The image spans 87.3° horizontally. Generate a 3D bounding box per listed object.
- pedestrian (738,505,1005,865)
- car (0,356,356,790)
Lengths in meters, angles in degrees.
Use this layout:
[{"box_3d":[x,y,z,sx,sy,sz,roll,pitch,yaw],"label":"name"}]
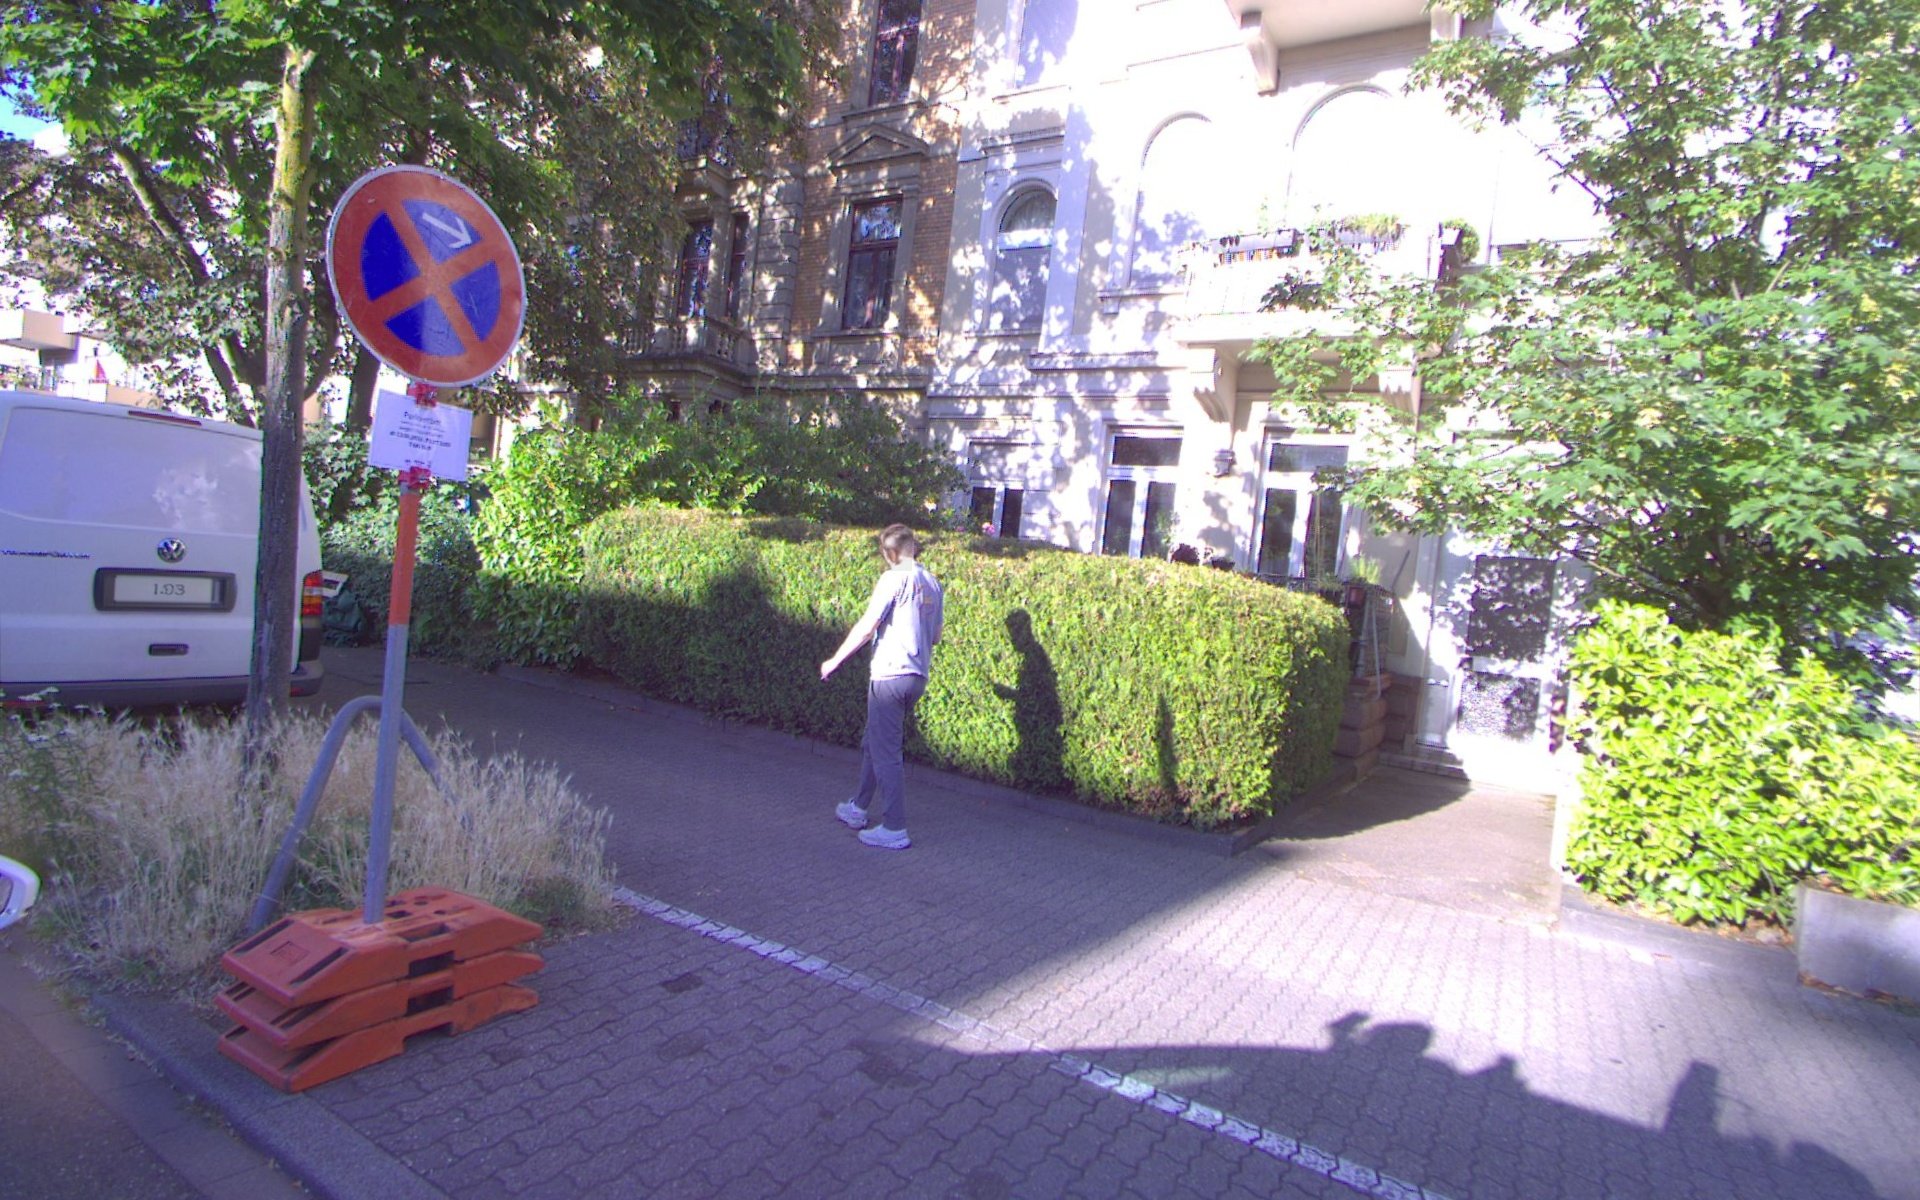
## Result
[{"box_3d":[-0.495,0.440,5.776,1.070,1.796,0.822,7,1,28],"label":"pedestrian"},{"box_3d":[-6.343,-0.303,6.676,4.562,2.129,1.905,7,0,30],"label":"car"}]
